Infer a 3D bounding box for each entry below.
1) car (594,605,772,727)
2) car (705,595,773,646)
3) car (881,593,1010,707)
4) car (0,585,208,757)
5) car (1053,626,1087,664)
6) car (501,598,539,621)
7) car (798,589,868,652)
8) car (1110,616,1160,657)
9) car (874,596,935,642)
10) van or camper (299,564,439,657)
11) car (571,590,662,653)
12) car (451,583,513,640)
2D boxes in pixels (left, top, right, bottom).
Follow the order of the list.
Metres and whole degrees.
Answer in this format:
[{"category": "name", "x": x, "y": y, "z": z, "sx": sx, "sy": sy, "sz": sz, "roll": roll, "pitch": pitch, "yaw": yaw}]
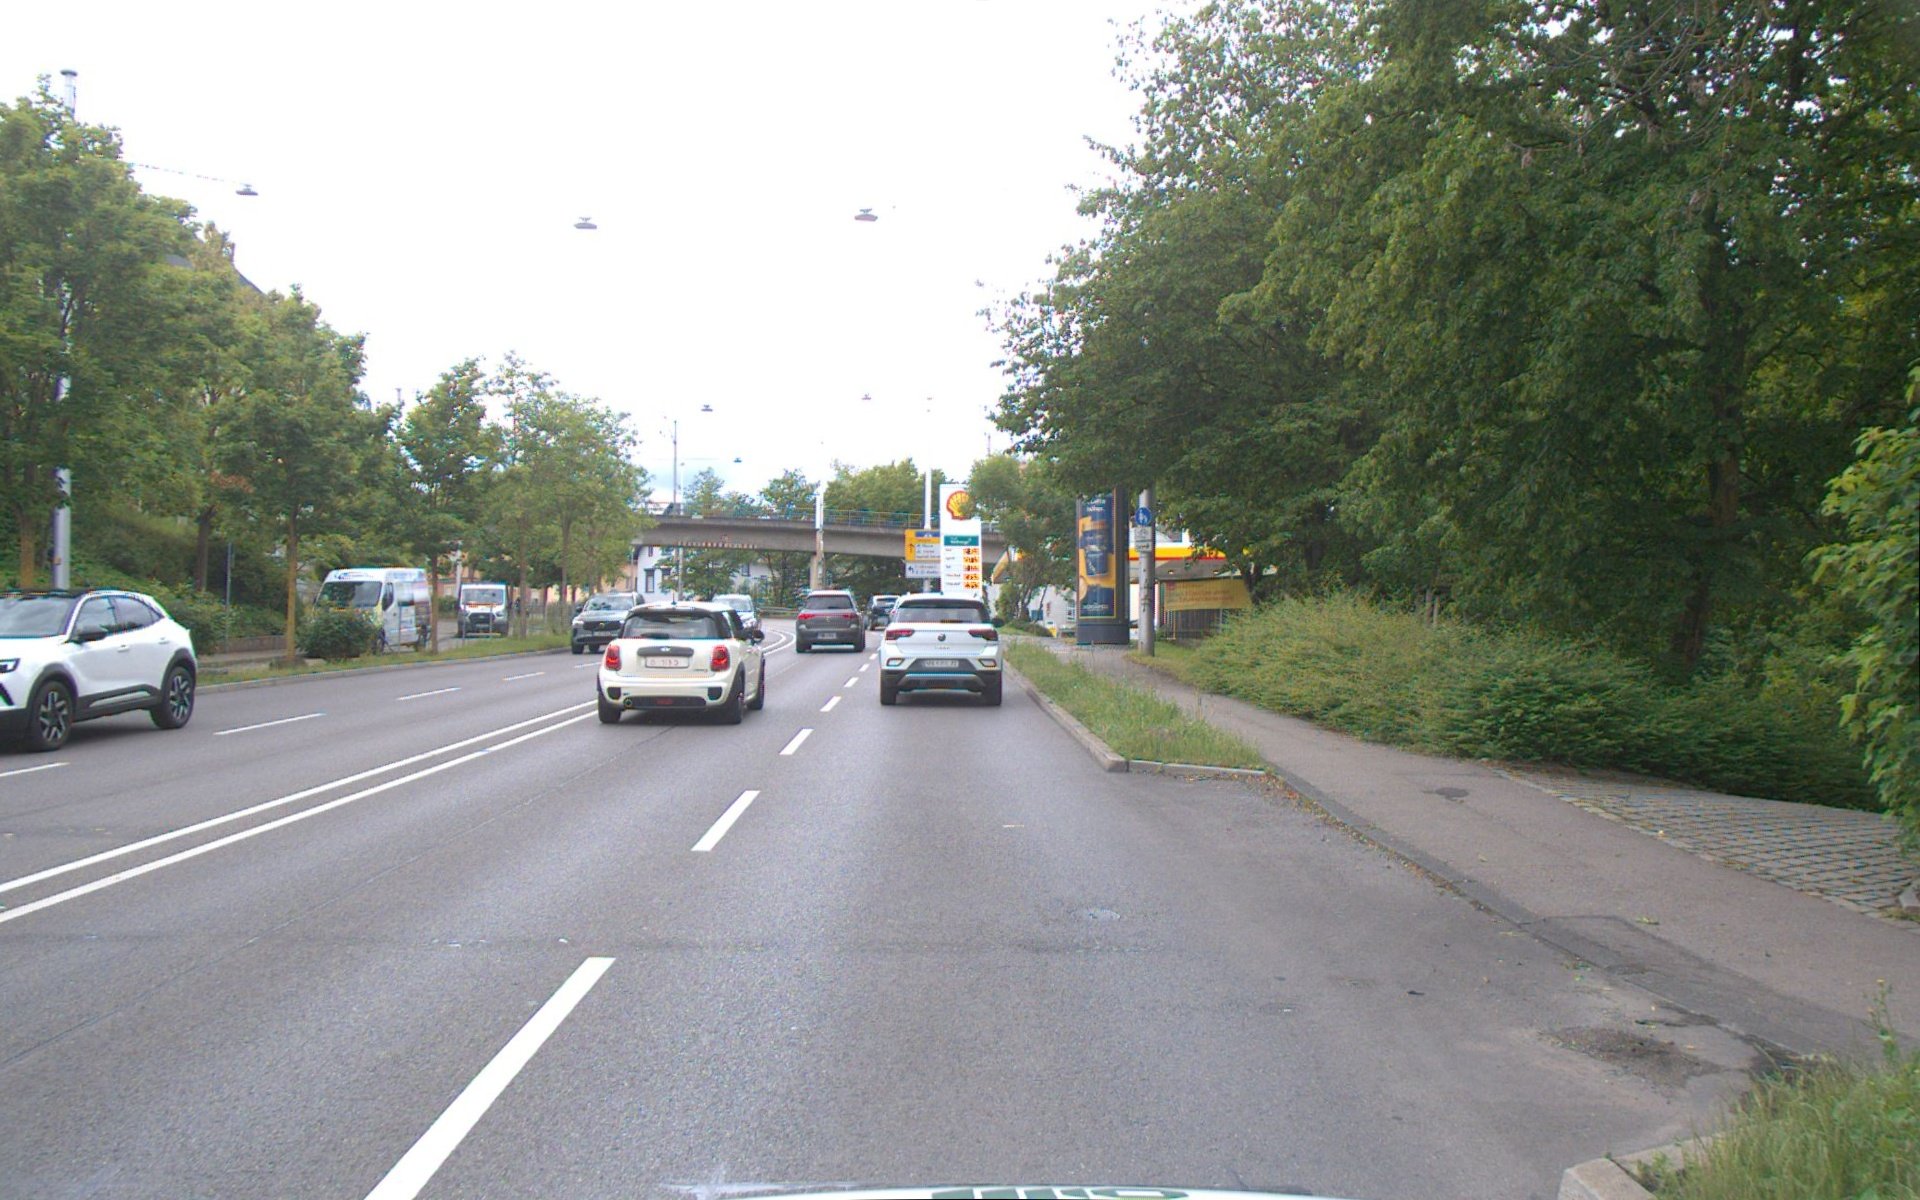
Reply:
[{"category": "car", "x": -3.371, "y": 0.764, "z": 20.721, "sx": 1.687, "sy": 1.400, "sz": 3.456, "roll": 0, "pitch": 0, "yaw": -1}, {"category": "car", "x": -7.273, "y": 0.655, "z": 54.823, "sx": 1.728, "sy": 1.620, "sz": 4.365, "roll": 0, "pitch": 0, "yaw": -1}, {"category": "car", "x": -0.221, "y": 0.690, "z": 24.360, "sx": 1.760, "sy": 1.545, "sz": 3.456, "roll": 0, "pitch": 0, "yaw": -1}, {"category": "car", "x": -9.486, "y": 0.646, "z": 17.007, "sx": 1.763, "sy": 1.569, "sz": 3.921, "roll": 0, "pitch": 0, "yaw": -1}, {"category": "car", "x": 6.352, "y": 2.653, "z": 96.195, "sx": 1.700, "sy": 2.046, "sz": 4.712, "roll": -1, "pitch": -4, "yaw": 1}, {"category": "car", "x": -32.592, "y": 0.711, "z": 122.421, "sx": 1.765, "sy": 1.603, "sz": 4.426, "roll": -1, "pitch": 0, "yaw": -28}, {"category": "car", "x": -3.447, "y": 0.550, "z": 45.474, "sx": 1.687, "sy": 1.668, "sz": 3.456, "roll": 0, "pitch": 0, "yaw": -1}, {"category": "car", "x": 7.170, "y": 1.527, "z": 68.004, "sx": 1.700, "sy": 1.512, "sz": 3.877, "roll": -1, "pitch": -4, "yaw": 1}, {"category": "car", "x": -1.830, "y": 0.615, "z": 53.728, "sx": 1.644, "sy": 1.433, "sz": 3.450, "roll": 0, "pitch": 0, "yaw": -8}, {"category": "van or camper", "x": -16.986, "y": 0.297, "z": 47.871, "sx": 1.952, "sy": 2.516, "sz": 5.710, "roll": -1, "pitch": 0, "yaw": 0}, {"category": "car", "x": -10.080, "y": 0.603, "z": 48.882, "sx": 1.728, "sy": 1.738, "sz": 4.869, "roll": 0, "pitch": 0, "yaw": -1}, {"category": "car", "x": -20.288, "y": 0.489, "z": 70.437, "sx": 2.229, "sy": 2.313, "sz": 6.304, "roll": -1, "pitch": 0, "yaw": -13}]
